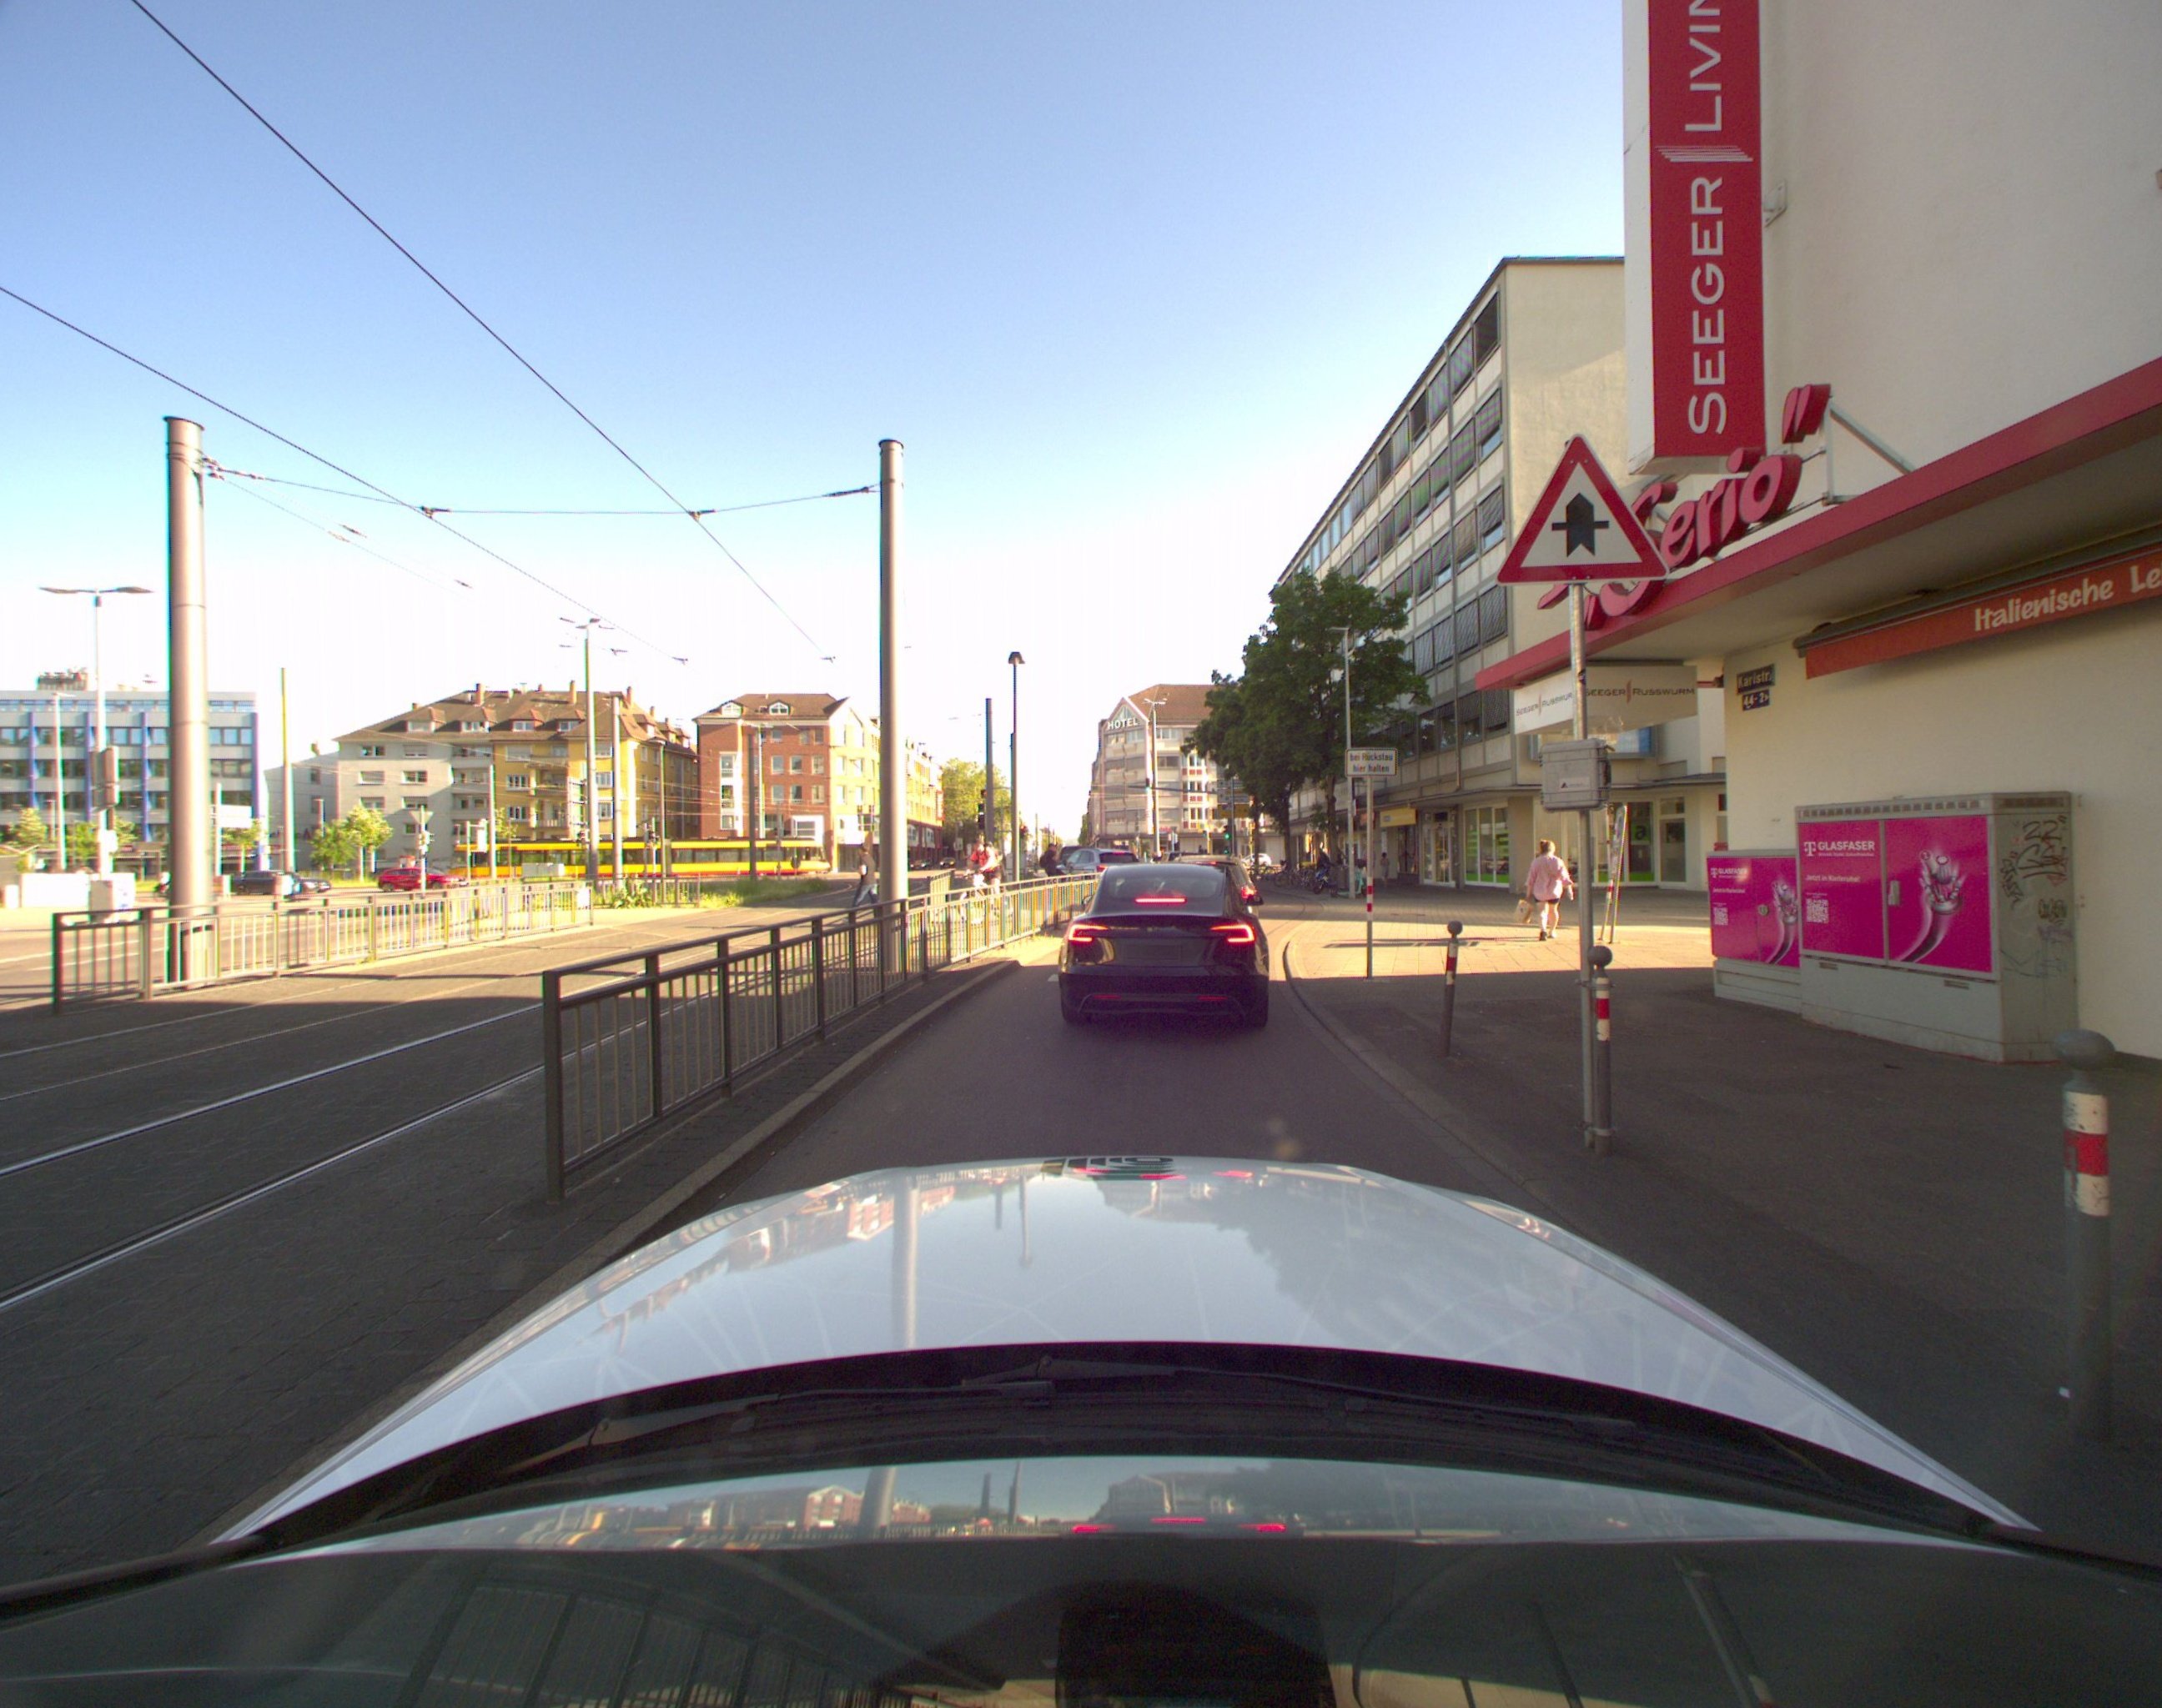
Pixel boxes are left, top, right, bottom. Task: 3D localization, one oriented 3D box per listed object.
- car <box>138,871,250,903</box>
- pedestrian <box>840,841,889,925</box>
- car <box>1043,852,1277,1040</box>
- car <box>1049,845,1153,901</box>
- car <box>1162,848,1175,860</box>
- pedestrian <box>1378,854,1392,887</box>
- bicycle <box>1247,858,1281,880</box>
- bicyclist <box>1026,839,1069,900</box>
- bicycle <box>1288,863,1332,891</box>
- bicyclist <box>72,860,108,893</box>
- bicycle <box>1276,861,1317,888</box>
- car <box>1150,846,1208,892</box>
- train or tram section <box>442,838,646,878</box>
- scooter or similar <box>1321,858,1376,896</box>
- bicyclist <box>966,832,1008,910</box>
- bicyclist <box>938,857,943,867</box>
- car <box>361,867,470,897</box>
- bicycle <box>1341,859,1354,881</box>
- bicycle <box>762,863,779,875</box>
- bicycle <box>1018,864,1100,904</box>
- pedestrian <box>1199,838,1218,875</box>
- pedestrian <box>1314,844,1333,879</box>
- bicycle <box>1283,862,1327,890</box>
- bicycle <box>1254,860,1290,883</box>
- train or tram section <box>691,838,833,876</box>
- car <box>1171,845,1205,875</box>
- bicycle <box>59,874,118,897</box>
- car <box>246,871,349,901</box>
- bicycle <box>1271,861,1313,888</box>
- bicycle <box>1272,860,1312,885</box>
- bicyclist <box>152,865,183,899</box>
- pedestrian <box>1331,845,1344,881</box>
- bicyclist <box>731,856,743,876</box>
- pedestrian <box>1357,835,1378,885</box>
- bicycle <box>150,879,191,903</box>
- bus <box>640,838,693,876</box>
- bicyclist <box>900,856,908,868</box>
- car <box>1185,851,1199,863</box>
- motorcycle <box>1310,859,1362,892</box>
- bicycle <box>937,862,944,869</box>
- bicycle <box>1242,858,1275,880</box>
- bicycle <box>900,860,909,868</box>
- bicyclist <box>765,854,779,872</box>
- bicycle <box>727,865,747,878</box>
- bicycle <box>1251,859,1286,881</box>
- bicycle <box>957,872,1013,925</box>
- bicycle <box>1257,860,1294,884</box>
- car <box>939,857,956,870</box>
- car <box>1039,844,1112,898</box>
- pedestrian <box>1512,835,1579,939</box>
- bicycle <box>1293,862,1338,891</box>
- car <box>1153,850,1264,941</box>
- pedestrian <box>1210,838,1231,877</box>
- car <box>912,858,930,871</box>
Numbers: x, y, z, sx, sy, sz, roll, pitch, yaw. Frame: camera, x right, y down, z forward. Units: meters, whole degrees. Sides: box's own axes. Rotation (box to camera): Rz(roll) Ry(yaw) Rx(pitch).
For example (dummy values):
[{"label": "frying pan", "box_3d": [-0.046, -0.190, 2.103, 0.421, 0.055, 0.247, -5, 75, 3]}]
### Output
[{"label": "car", "box_3d": [-50.626, 1.873, 46.556, 3.952, 1.685, 1.903, 0, -1, -11]}, {"label": "pedestrian", "box_3d": [-4.439, 0.584, 16.694, 0.585, 1.681, 0.779, -1, -1, 43]}, {"label": "car", "box_3d": [0.850, 0.735, 8.397, 1.820, 1.455, 4.007, 0, -1, 7]}, {"label": "car", "box_3d": [0.562, 0.584, 26.611, 1.891, 1.662, 4.126, 0, -1, -23]}, {"label": "car", "box_3d": [8.252, 0.040, 76.771, 0.914, 1.100, 1.876, -1, -1, 18]}, {"label": "pedestrian", "box_3d": [12.252, 0.659, 32.784, 0.388, 1.343, 0.513, 0, -1, 4]}, {"label": "bicycle", "box_3d": [9.261, 0.755, 41.301, 1.643, 1.099, 0.350, -1, 0, 3]}, {"label": "bicyclist", "box_3d": [-0.915, 0.425, 22.320, 0.763, 1.628, 0.967, 0, -1, -37]}, {"label": "bicycle", "box_3d": [8.817, 0.884, 31.365, 1.649, 1.061, 0.349, 0, -1, -9]}, {"label": "bicyclist", "box_3d": [-53.843, 1.216, 44.254, 0.901, 1.808, 0.788, 0, -1, -11]}, {"label": "bicycle", "box_3d": [8.990, 0.865, 33.995, 1.649, 1.099, 0.349, 0, -1, -9]}, {"label": "car", "box_3d": [3.963, 0.587, 33.648, 1.596, 1.778, 3.973, 0, -1, -5]}, {"label": "train or tram section", "box_3d": [-42.884, 0.295, 65.526, 13.673, 3.131, 2.724, 0, -1, -10]}, {"label": "scooter or similar", "box_3d": [8.898, 0.761, 27.102, 1.625, 1.215, 0.649, -1, -1, 32]}, {"label": "bicyclist", "box_3d": [-1.893, 0.332, 16.420, 0.387, 1.521, 1.049, -1, -1, 21]}, {"label": "bicyclist", "box_3d": [-23.276, 1.364, 134.993, 0.780, 1.563, 0.747, 0, -1, 3]}, {"label": "car", "box_3d": [-39.459, 1.649, 48.370, 4.585, 1.700, 1.993, 0, -1, -10]}, {"label": "bicycle", "box_3d": [12.738, 0.761, 39.004, 0.330, 1.034, 1.258, 0, -1, 6]}, {"label": "bicycle", "box_3d": [-25.998, 1.286, 68.237, 0.522, 0.972, 2.247, 0, -1, 2]}, {"label": "bicycle", "box_3d": [-0.589, 0.813, 22.595, 2.346, 1.053, 0.624, 0, -1, -36]}, {"label": "pedestrian", "box_3d": [6.936, 0.144, 44.299, 0.917, 2.014, 0.973, 0, -1, 1]}, {"label": "pedestrian", "box_3d": [11.601, 0.364, 39.002, 0.697, 1.662, 0.777, 0, -1, 1]}, {"label": "bicycle", "box_3d": [8.730, 0.855, 31.791, 1.649, 1.099, 0.349, 0, -1, -9]}, {"label": "bicycle", "box_3d": [9.204, 0.836, 39.241, 1.643, 1.099, 0.350, 0, -1, 3]}, {"label": "train or tram section", "box_3d": [-27.474, 0.218, 70.458, 11.286, 3.131, 2.782, 0, -1, -25]}, {"label": "car", "box_3d": [6.480, 0.385, 49.750, 1.713, 1.751, 3.755, 0, -1, 2]}, {"label": "bicycle", "box_3d": [-53.887, 1.711, 44.236, 2.188, 1.214, 0.544, 0, -1, -11]}, {"label": "car", "box_3d": [-45.496, 1.834, 47.374, 3.984, 1.672, 1.772, 0, -1, -8]}, {"label": "bicycle", "box_3d": [8.616, 0.843, 33.323, 1.649, 1.099, 0.349, 0, -1, -9]}, {"label": "bicycle", "box_3d": [9.117, 0.803, 35.261, 1.643, 1.099, 0.350, 0, -1, 3]}, {"label": "bicyclist", "box_3d": [-47.556, 1.440, 42.403, 0.746, 1.759, 0.760, -1, -1, 8]}, {"label": "pedestrian", "box_3d": [12.321, 0.439, 39.144, 0.523, 1.710, 0.404, -1, -1, 7]}, {"label": "bicyclist", "box_3d": [-26.016, 0.909, 61.553, 0.631, 1.503, 0.696, 0, -1, 1]}, {"label": "pedestrian", "box_3d": [11.594, 0.253, 32.940, 0.659, 2.014, 0.580, 0, -1, 4]}, {"label": "bicycle", "box_3d": [-47.363, 1.901, 42.370, 1.838, 1.222, 0.487, -1, -1, 9]}, {"label": "bus", "box_3d": [-34.278, 0.245, 67.408, 3.527, 3.131, 2.753, 0, -1, -19]}, {"label": "bicyclist", "box_3d": [-22.417, 1.003, 103.282, 0.780, 1.563, 0.747, -1, 0, 3]}, {"label": "car", "box_3d": [10.736, 0.296, 78.718, 0.914, 1.099, 1.876, -2, 0, 18]}, {"label": "motorcycle", "box_3d": [9.145, 0.765, 29.198, 1.701, 1.173, 0.541, 0, -1, 0]}, {"label": "bicycle", "box_3d": [-23.242, 1.904, 134.916, 0.527, 1.088, 2.227, 0, -1, 4]}, {"label": "bicycle", "box_3d": [9.242, 0.785, 42.396, 1.643, 1.099, 0.350, 0, -1, 3]}, {"label": "bicycle", "box_3d": [-22.379, 1.262, 103.288, 0.527, 1.088, 2.286, -1, 0, 4]}, {"label": "bicyclist", "box_3d": [-25.983, 0.736, 68.414, 0.895, 1.503, 0.696, 0, -1, 1]}, {"label": "bicycle", "box_3d": [-26.000, 1.321, 61.608, 0.445, 0.972, 2.247, 0, -1, 2]}, {"label": "bicycle", "box_3d": [9.279, 0.793, 40.254, 1.643, 1.099, 0.350, 0, -1, 3]}, {"label": "bicycle", "box_3d": [-1.913, 0.862, 16.386, 0.399, 0.994, 1.611, -1, -1, 22]}, {"label": "bicycle", "box_3d": [9.139, 0.832, 38.215, 1.643, 1.099, 0.350, 0, -1, 3]}, {"label": "car", "box_3d": [-17.468, 1.224, 106.610, 1.692, 1.731, 3.706, 0, -1, 0]}, {"label": "car", "box_3d": [-0.282, 0.662, 32.784, 1.997, 2.014, 3.980, -1, 0, -15]}, {"label": "pedestrian", "box_3d": [7.701, 0.533, 13.543, 0.881, 1.667, 0.813, -1, -1, 25]}, {"label": "bicycle", "box_3d": [8.894, 0.856, 30.941, 1.649, 1.099, 0.349, 0, -1, -9]}, {"label": "car", "box_3d": [2.336, 0.668, 15.088, 1.741, 1.454, 4.009, -1, 0, 8]}, {"label": "pedestrian", "box_3d": [7.163, 0.184, 41.852, 0.917, 2.014, 0.973, 0, -1, 1]}, {"label": "car", "box_3d": [-20.332, 1.316, 103.487, 1.706, 1.527, 4.032, 0, -1, -3]}]
